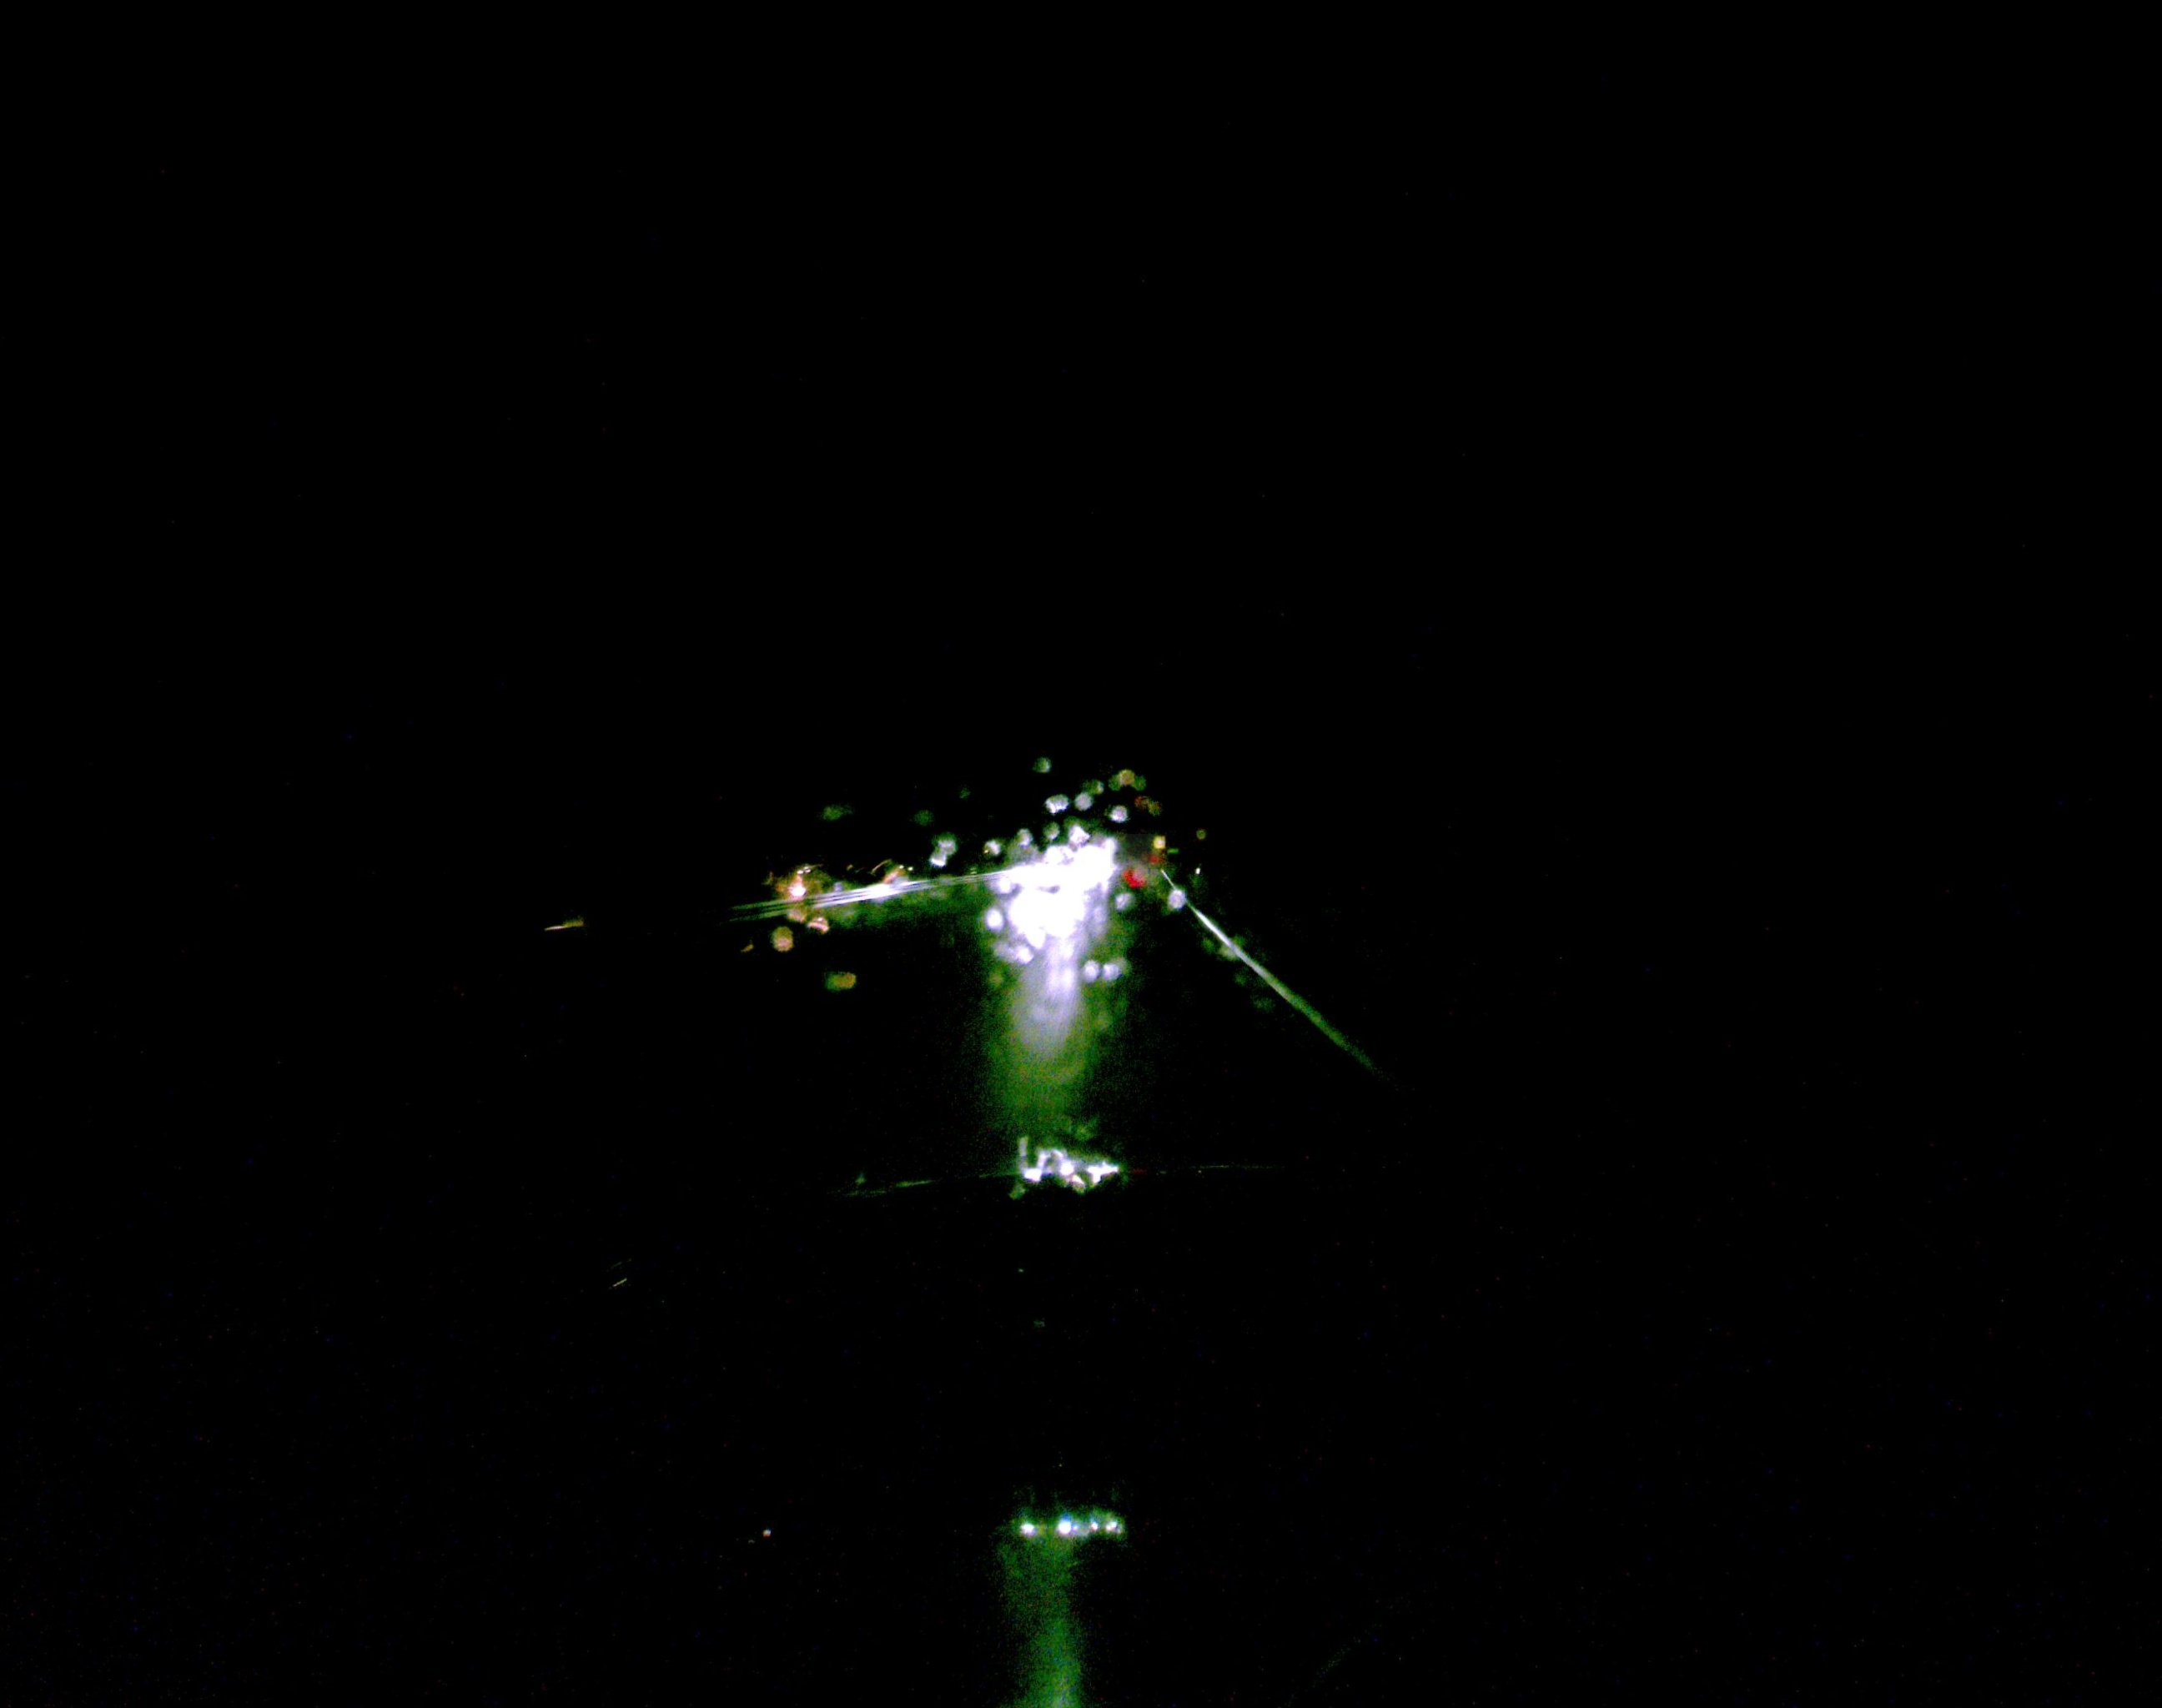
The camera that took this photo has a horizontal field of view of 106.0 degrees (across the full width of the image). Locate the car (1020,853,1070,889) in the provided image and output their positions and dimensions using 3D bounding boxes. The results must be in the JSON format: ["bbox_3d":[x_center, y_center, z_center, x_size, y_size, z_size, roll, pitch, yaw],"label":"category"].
[{"bbox_3d":[-1.480,0.674,34.710,1.733,1.402,3.863,-2,0,3],"label":"car"}]

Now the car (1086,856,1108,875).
[{"bbox_3d":[1.508,1.059,75.524,1.773,1.667,4.477,-2,0,4],"label":"car"}]
